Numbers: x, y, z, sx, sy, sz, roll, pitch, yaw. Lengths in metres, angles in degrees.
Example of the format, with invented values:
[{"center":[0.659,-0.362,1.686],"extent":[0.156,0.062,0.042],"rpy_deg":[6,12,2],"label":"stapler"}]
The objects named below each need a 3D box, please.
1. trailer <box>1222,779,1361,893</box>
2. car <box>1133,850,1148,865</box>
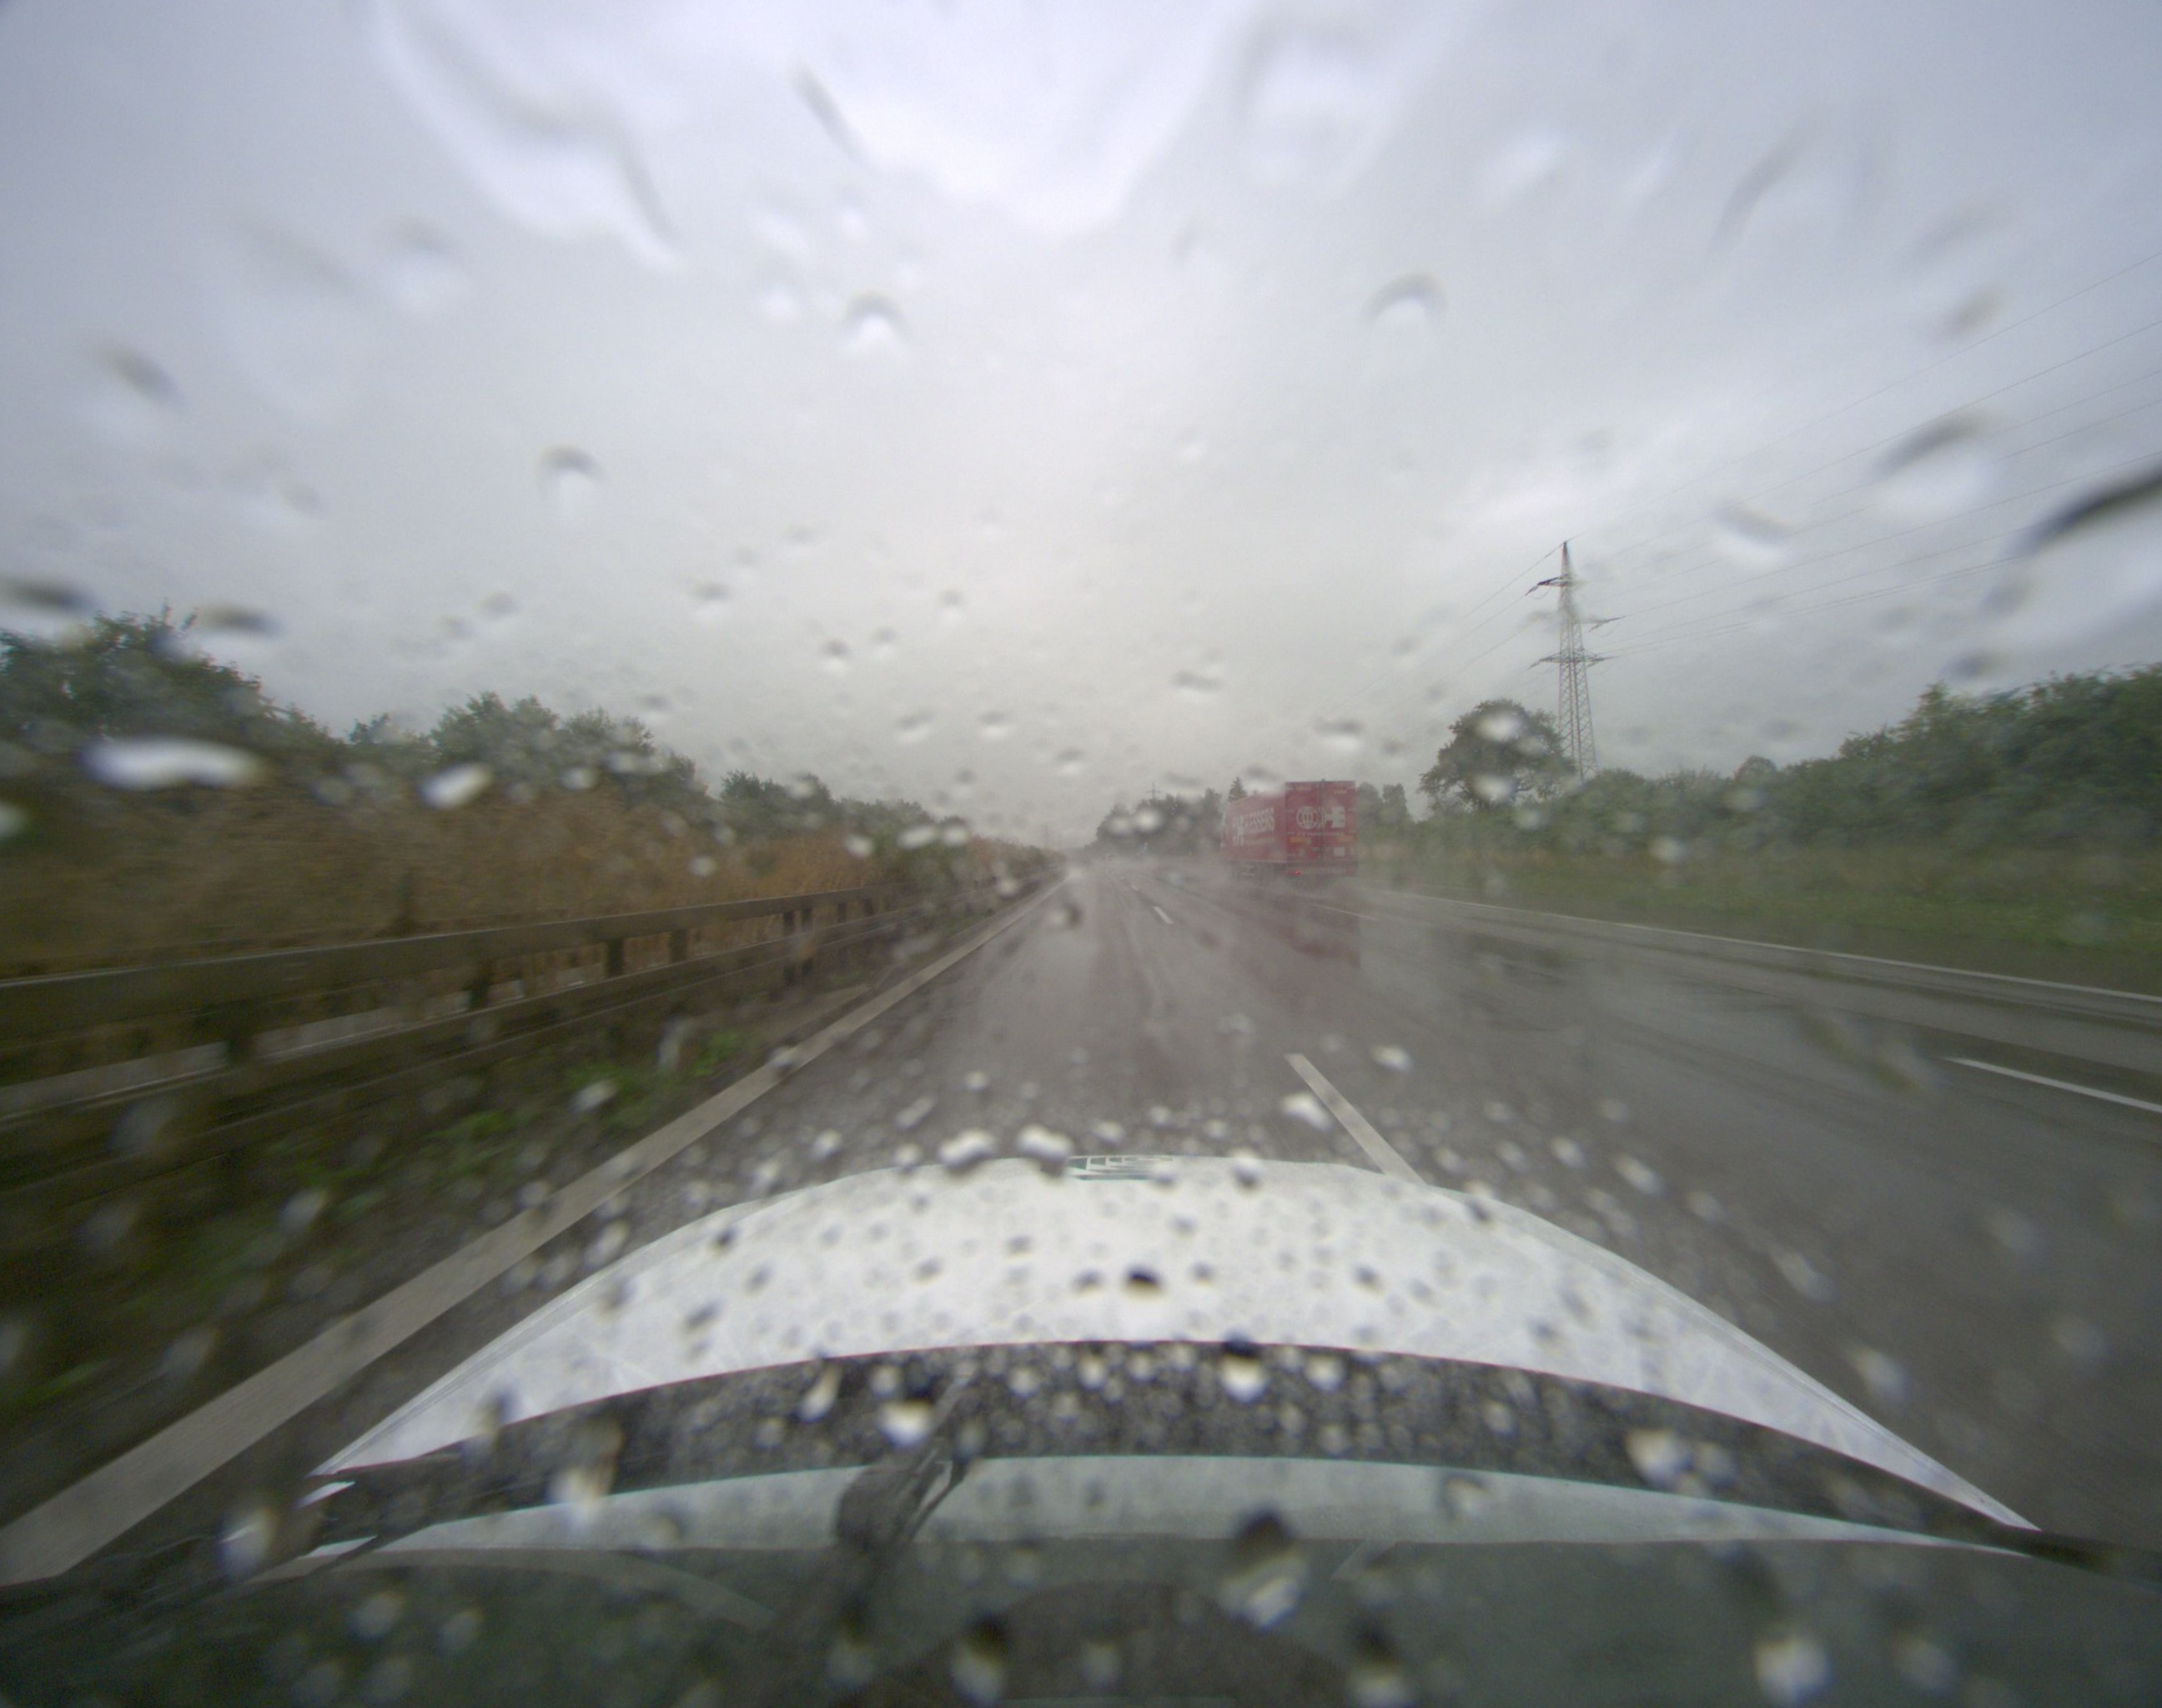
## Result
[{"center":[8.729,-0.622,36.042],"extent":[2.611,3.955,13.630],"rpy_deg":[-3,0,1],"label":"trailer"},{"center":[9.104,0.504,124.877],"extent":[1.803,2.158,3.995],"rpy_deg":[-3,0,-3],"label":"car"}]
